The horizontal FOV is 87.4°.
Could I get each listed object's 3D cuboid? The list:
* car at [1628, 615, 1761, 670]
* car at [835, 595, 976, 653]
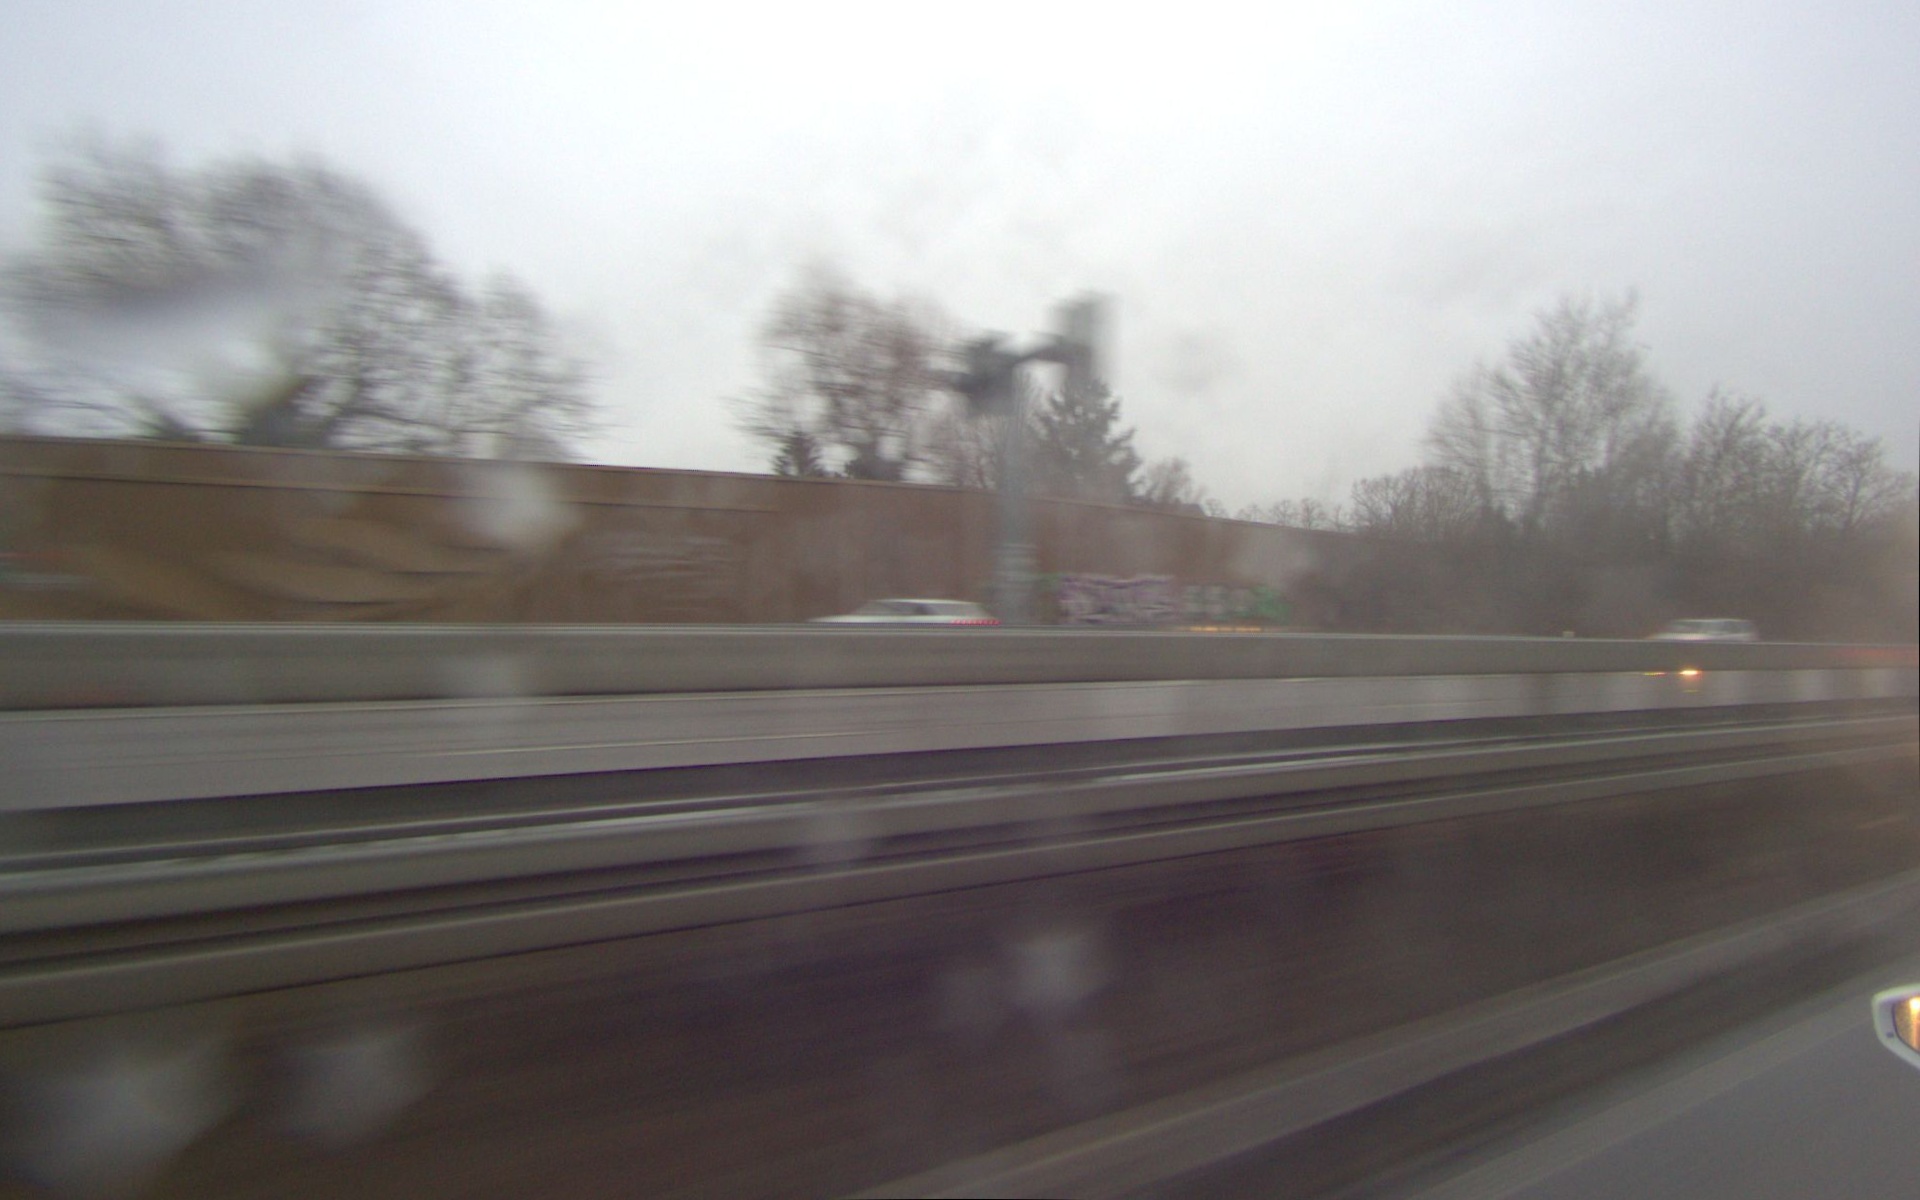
[{"bbox_3d":[27.726,1.600,37.929,4.380,1.939,1.990,2,0,-22],"label":"car"},{"bbox_3d":[-1.463,0.617,26.375,3.463,1.414,1.650,2,0,-13],"label":"car"}]
